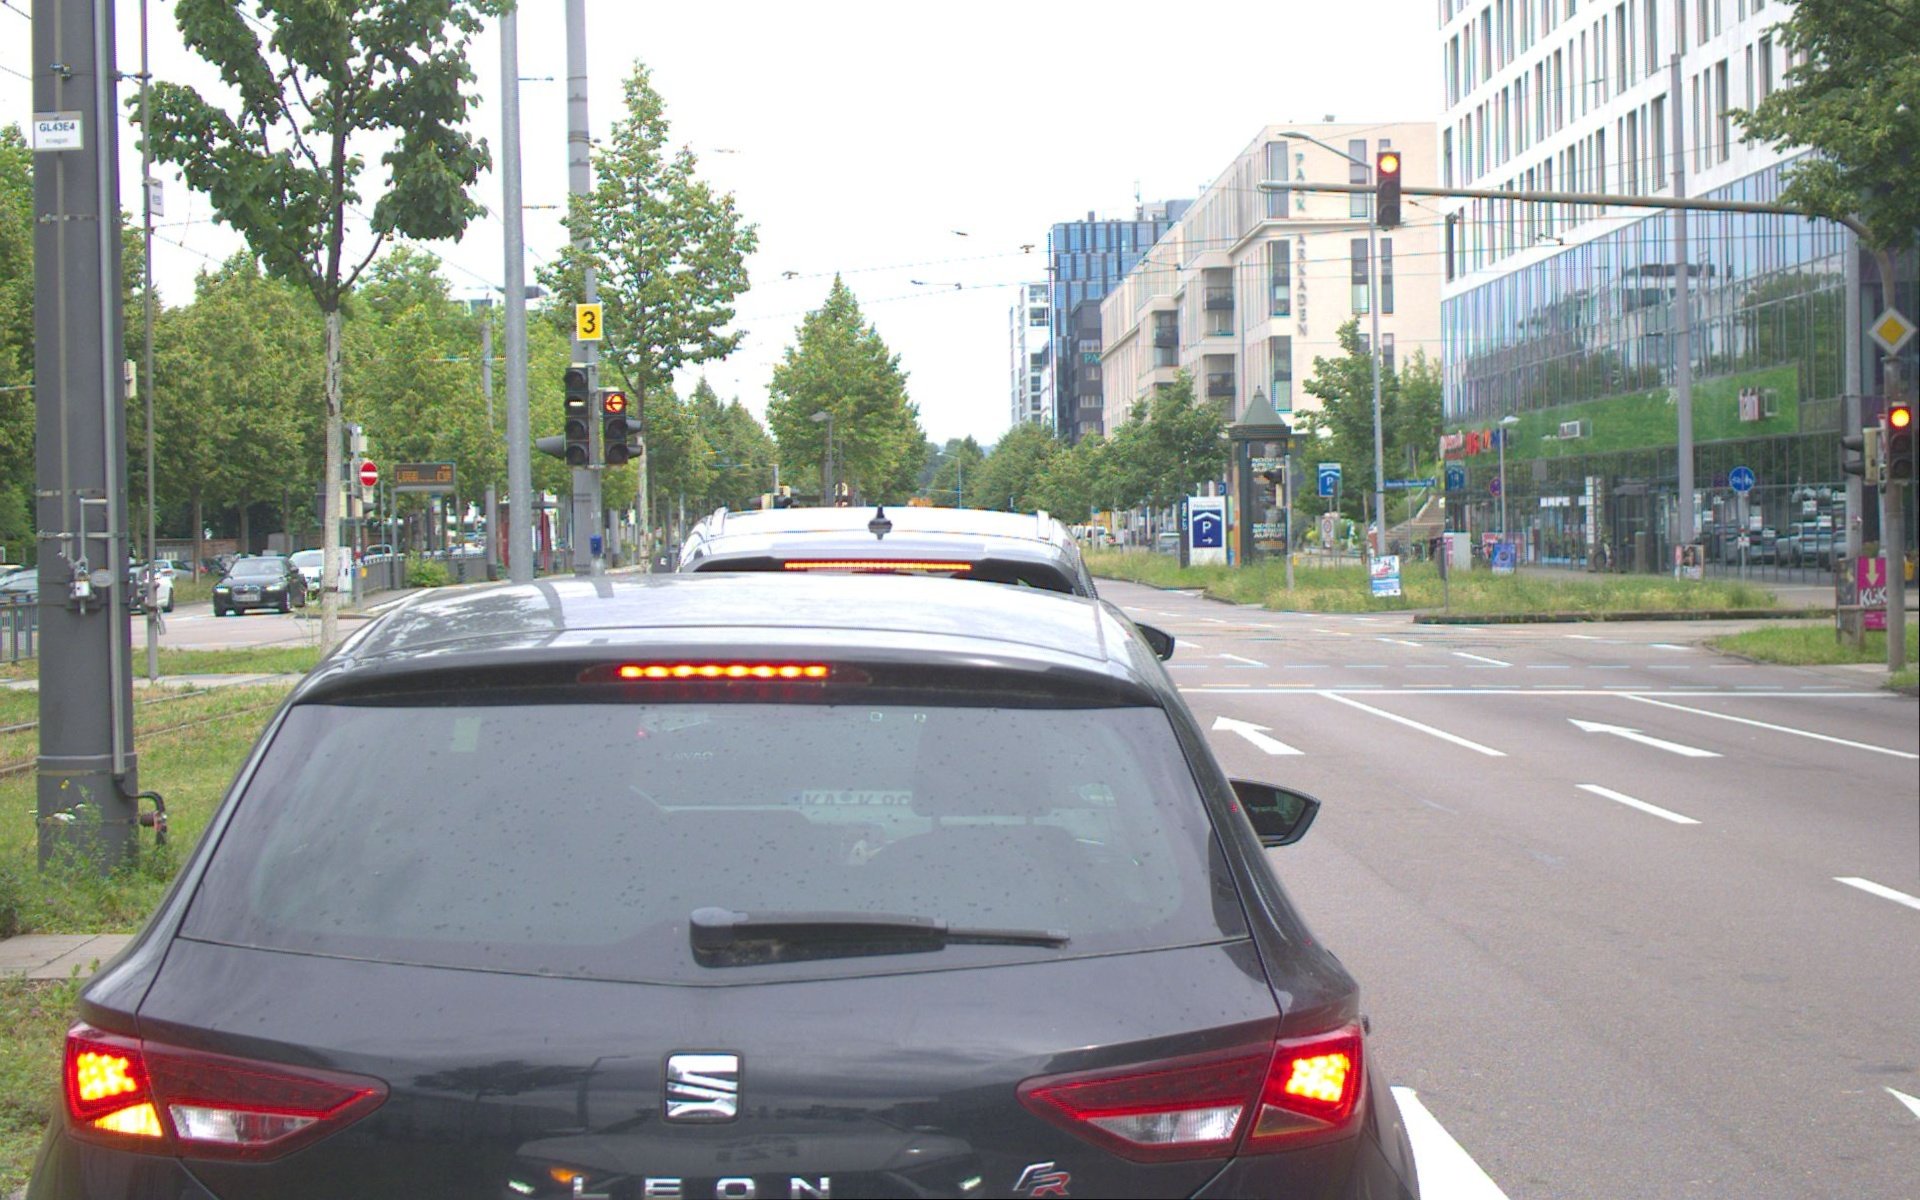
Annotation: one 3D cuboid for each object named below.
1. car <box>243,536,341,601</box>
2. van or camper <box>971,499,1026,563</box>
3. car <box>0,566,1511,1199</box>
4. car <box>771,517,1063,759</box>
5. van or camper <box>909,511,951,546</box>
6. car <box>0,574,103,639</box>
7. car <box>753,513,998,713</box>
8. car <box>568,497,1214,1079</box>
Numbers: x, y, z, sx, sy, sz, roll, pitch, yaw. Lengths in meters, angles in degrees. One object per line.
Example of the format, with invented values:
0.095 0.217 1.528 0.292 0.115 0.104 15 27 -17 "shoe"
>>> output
-18.519 -0.899 95.476 1.993 1.744 4.201 -1 1 -2 "car"
1.516 -2.740 135.901 2.109 2.348 4.924 0 3 0 "van or camper"
-0.368 0.685 5.488 1.743 1.412 4.000 1 1 -1 "car"
-0.244 0.219 26.097 1.994 1.676 4.000 1 1 2 "car"
-1.422 -3.445 165.647 1.993 1.609 4.789 0 2 0 "van or camper"
-20.908 0.139 78.346 1.801 1.373 4.058 -1 1 -1 "car"
-0.696 0.065 31.157 1.993 1.676 4.000 1 1 2 "car"
-0.217 0.492 11.713 1.802 1.619 4.000 -1 1 -1 "car"
